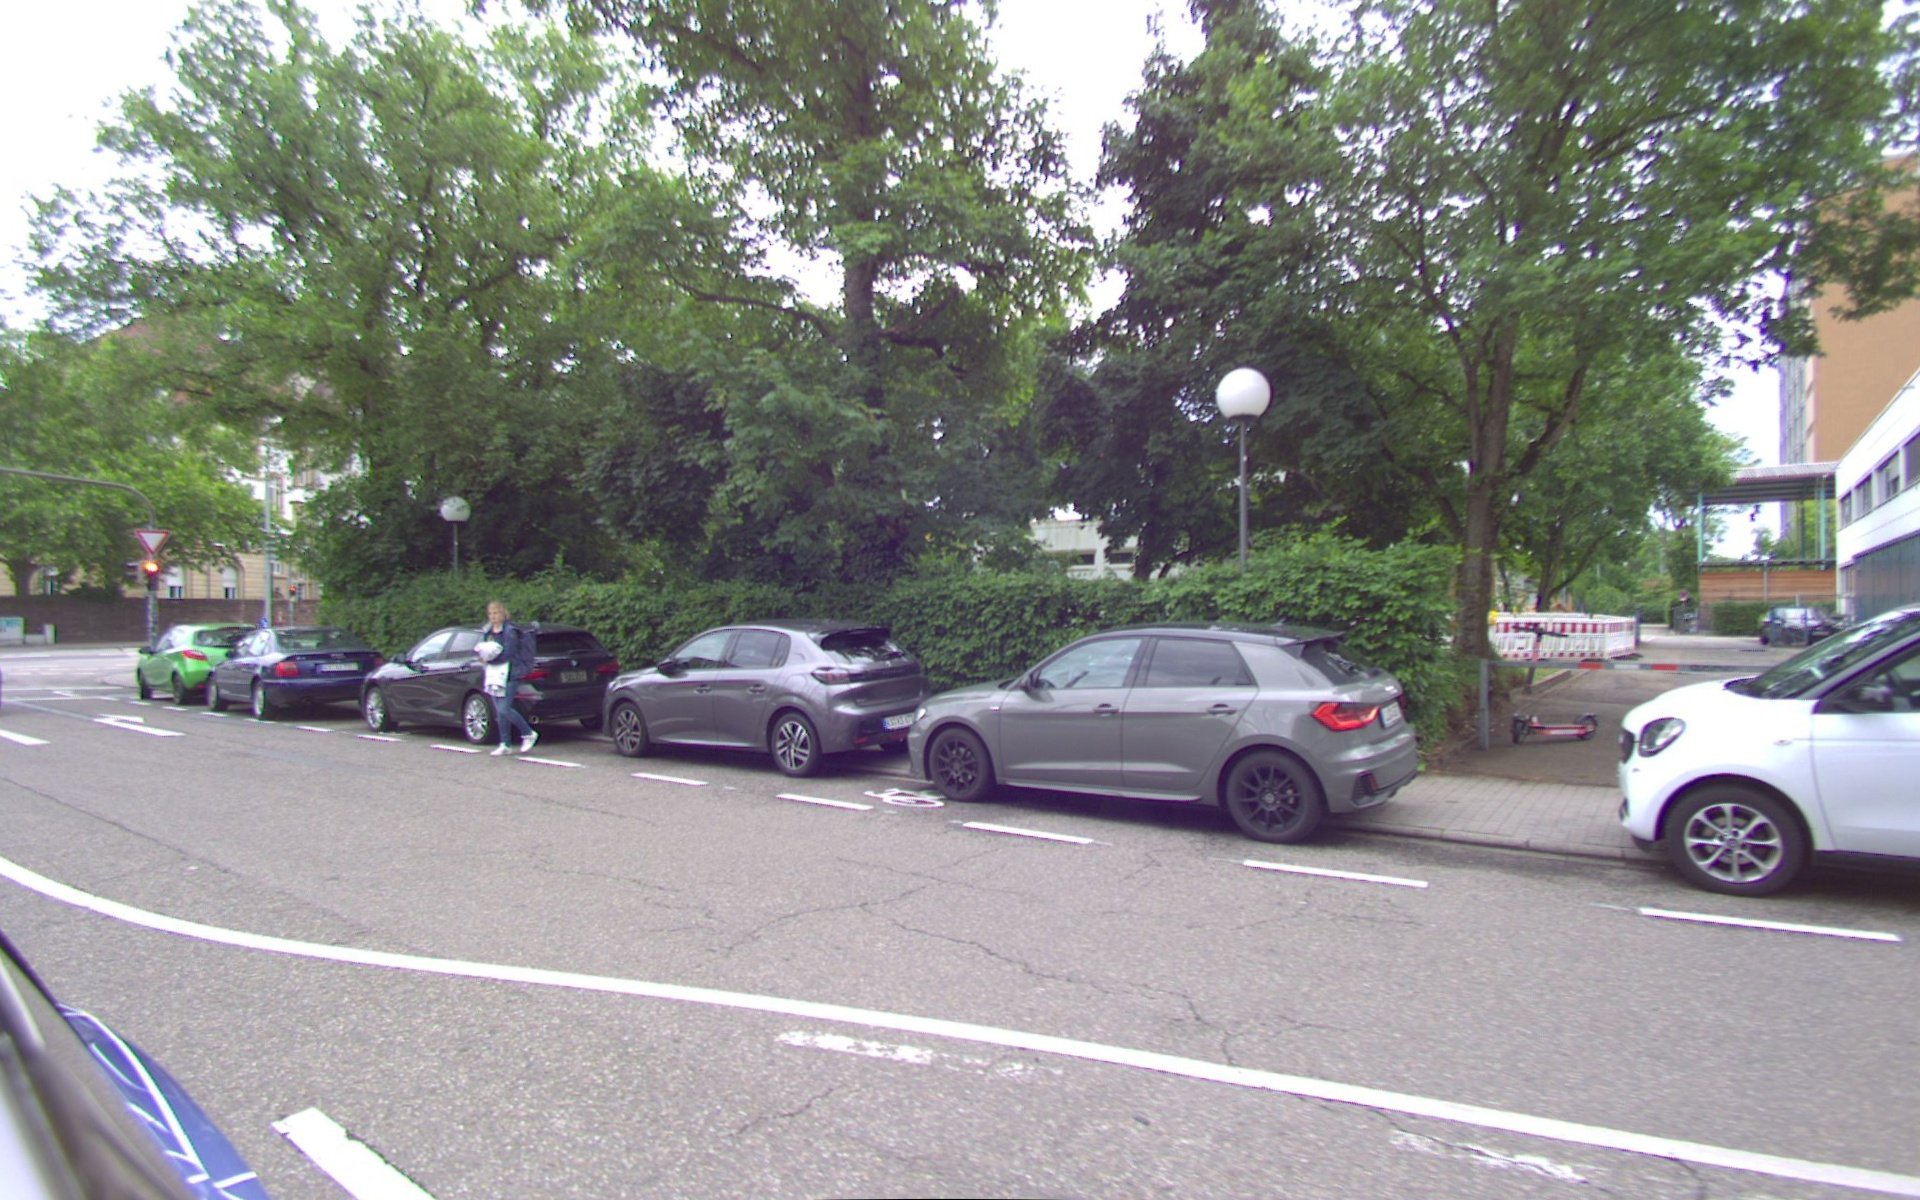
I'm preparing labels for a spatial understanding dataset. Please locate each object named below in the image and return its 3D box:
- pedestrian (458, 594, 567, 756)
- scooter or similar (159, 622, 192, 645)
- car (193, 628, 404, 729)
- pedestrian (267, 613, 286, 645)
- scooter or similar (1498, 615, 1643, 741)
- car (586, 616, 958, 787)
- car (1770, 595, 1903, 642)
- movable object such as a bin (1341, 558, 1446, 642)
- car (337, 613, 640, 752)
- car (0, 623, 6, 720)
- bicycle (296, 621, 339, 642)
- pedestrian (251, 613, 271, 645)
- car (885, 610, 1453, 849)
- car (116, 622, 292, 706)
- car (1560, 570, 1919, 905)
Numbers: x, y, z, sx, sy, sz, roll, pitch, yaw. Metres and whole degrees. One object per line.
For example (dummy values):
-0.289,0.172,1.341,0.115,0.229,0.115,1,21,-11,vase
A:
-4.888,0.798,11.050,0.967,1.674,0.731,-3,-3,39,pedestrian
-42.622,1.801,55.003,1.390,1.239,0.496,1,0,-34,scooter or similar
-10.939,1.184,16.618,4.334,1.419,1.779,-1,-1,41,car
-38.116,1.608,56.423,0.777,1.706,0.635,1,0,32,pedestrian
6.225,0.778,10.332,1.285,1.219,0.452,-1,-1,-12,scooter or similar
-2.053,0.911,10.641,3.818,1.482,1.745,-1,-1,37,car
30.513,0.649,35.395,1.859,1.541,3.755,-1,-1,12,car
12.494,0.072,28.997,1.994,2.188,4.617,-1,-2,33,movable object such as a bin
-6.418,1.007,13.559,4.522,1.573,1.781,-2,-2,37,car
-17.050,1.120,16.302,4.161,1.508,1.766,-1,-1,37,car
-38.634,1.891,60.900,0.580,1.194,2.135,1,0,28,bicycle
-38.536,1.573,55.774,0.734,1.752,0.663,0,0,34,pedestrian
1.511,0.832,7.950,4.000,1.422,1.748,-2,-1,36,car
-14.954,1.174,19.950,4.243,1.481,1.780,-1,-1,39,car
5.460,0.641,5.251,3.870,1.598,1.700,-2,-1,36,car
